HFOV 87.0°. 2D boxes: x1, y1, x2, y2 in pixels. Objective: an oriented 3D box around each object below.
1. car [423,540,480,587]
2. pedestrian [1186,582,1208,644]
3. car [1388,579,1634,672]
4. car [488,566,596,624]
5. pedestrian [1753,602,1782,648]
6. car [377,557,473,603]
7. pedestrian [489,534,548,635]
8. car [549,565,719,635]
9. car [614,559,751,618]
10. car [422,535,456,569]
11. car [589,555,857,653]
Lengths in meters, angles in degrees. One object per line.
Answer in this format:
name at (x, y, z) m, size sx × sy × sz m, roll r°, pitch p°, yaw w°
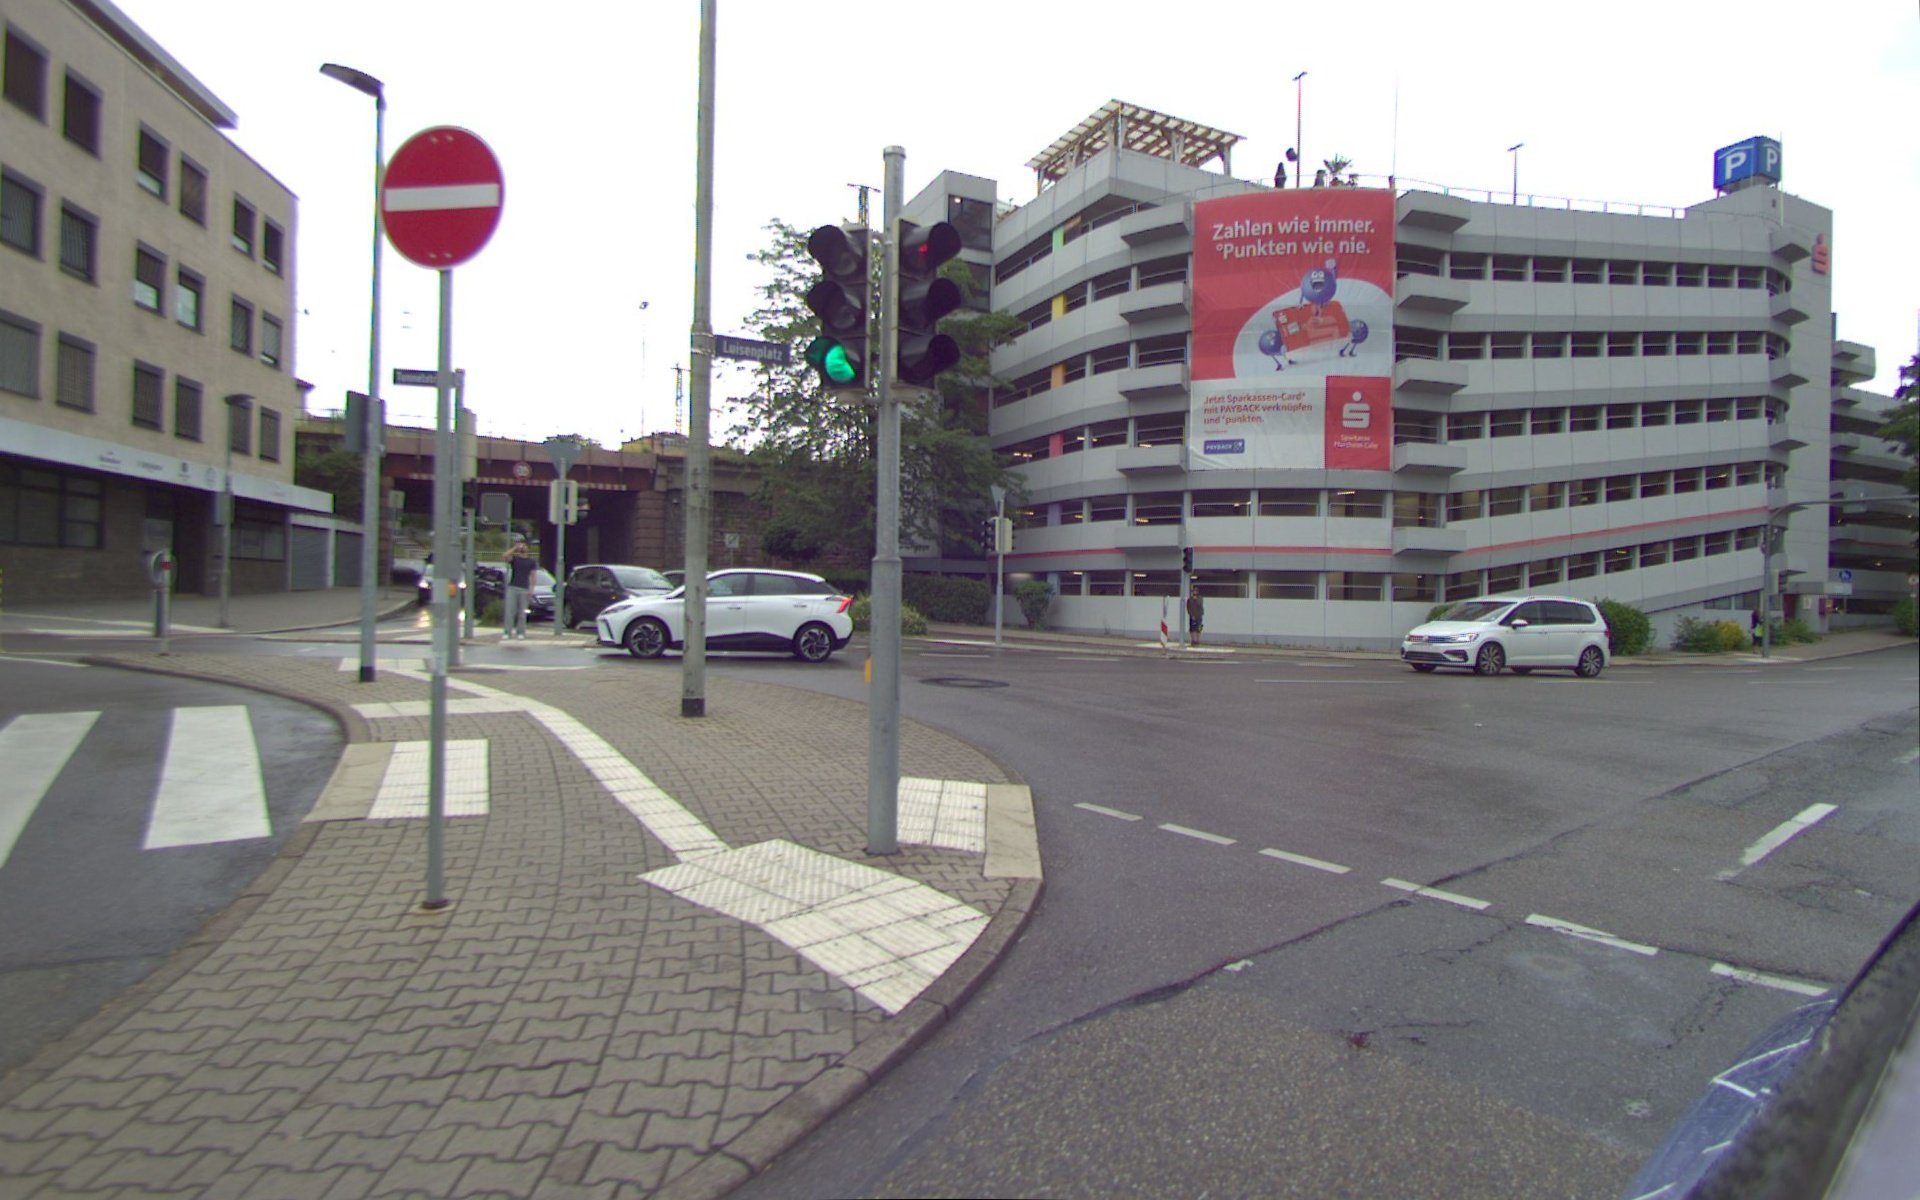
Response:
car at (-21.507, -1.495, 42.907) m, size 1.958 × 1.805 × 4.171 m, roll 0°, pitch -1°, yaw -24°
pedestrian at (7.466, 0.407, 31.883) m, size 0.536 × 1.913 × 0.506 m, roll 4°, pitch 2°, yaw 10°
car at (11.250, 0.510, 20.707) m, size 4.306 × 1.748 × 2.004 m, roll 2°, pitch 0°, yaw -19°
car at (-12.392, -0.182, 29.835) m, size 1.962 × 1.462 × 4.485 m, roll 1°, pitch 2°, yaw -36°
pedestrian at (30.272, 0.922, 37.946) m, size 0.508 × 1.679 × 0.586 m, roll 0°, pitch 3°, yaw -23°
car at (-19.562, -0.745, 36.911) m, size 1.966 × 1.462 × 4.476 m, roll 1°, pitch 2°, yaw -43°
pedestrian at (-8.152, -0.279, 18.675) m, size 0.762 × 1.814 × 0.856 m, roll 0°, pitch -1°, yaw -44°
car at (-8.087, -0.043, 24.914) m, size 4.468 × 1.462 × 1.970 m, roll 4°, pitch 2°, yaw 42°
car at (-8.094, -0.365, 29.279) m, size 1.966 × 1.462 × 4.476 m, roll 1°, pitch 2°, yaw -43°
car at (-34.803, -3.169, 67.648) m, size 1.959 × 2.039 × 4.005 m, roll 0°, pitch -1°, yaw -27°
car at (-3.918, 0.115, 16.933) m, size 4.120 × 1.497 × 1.809 m, roll 1°, pitch -2°, yaw -15°
